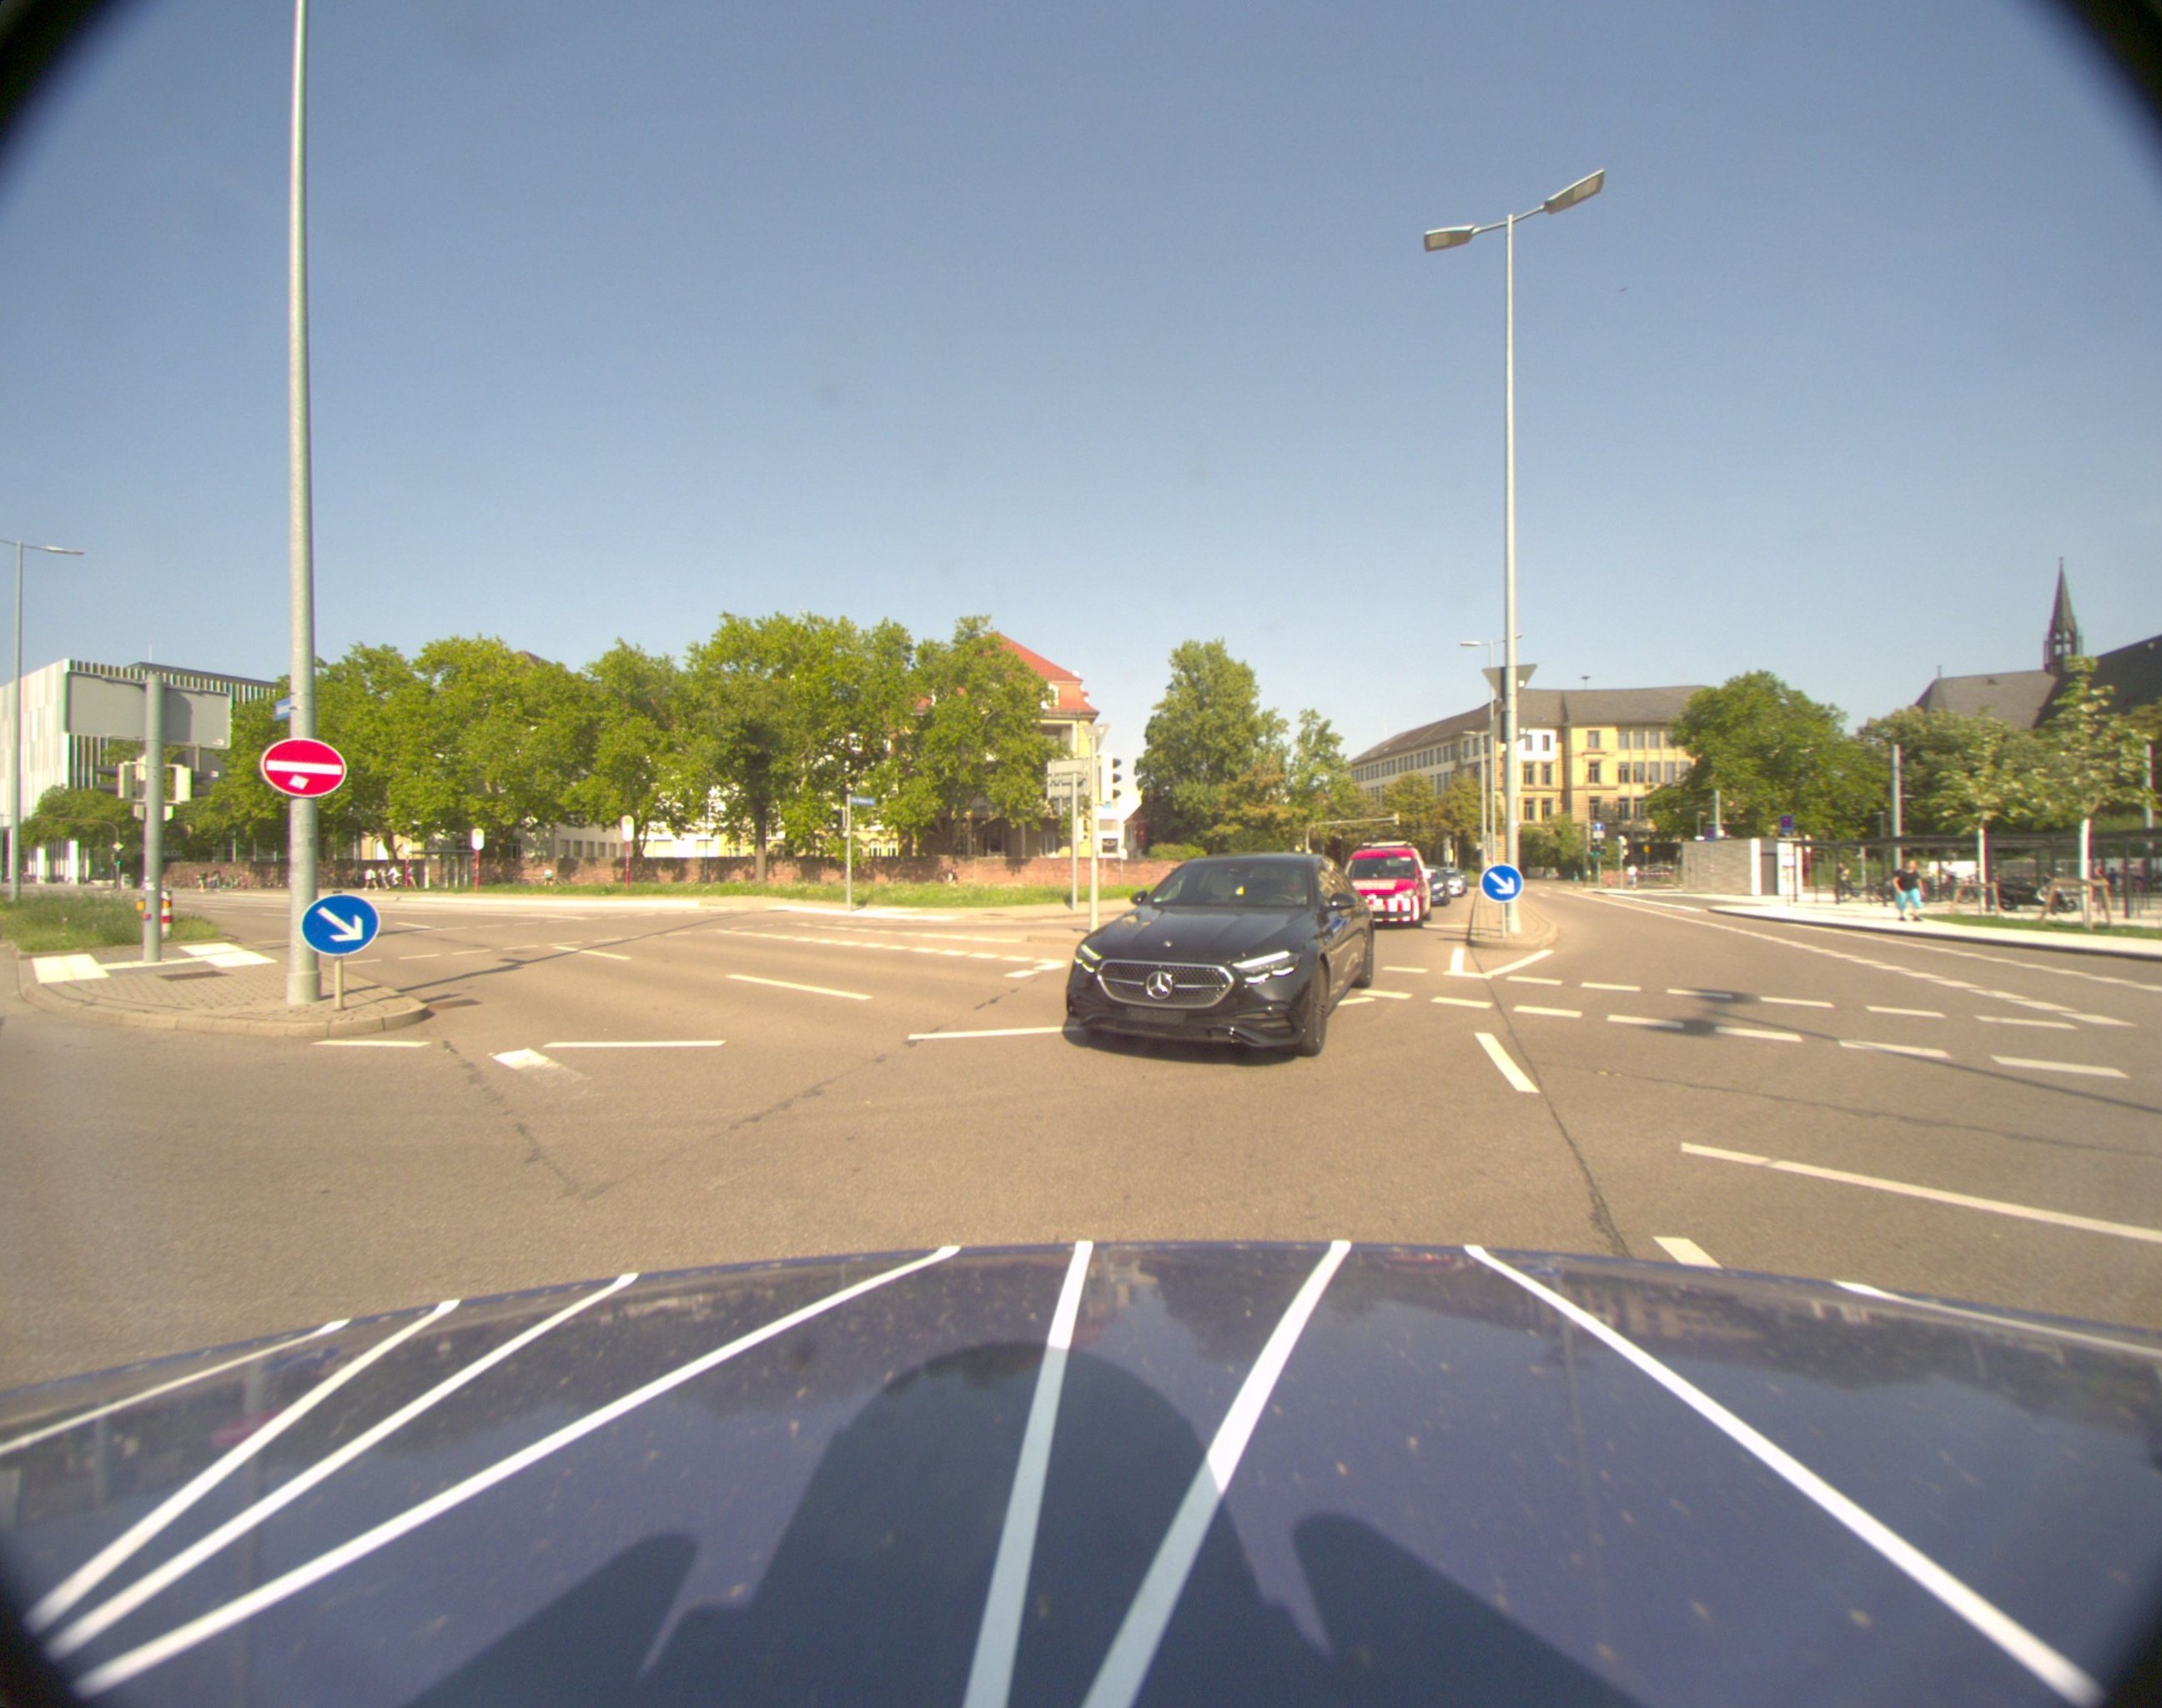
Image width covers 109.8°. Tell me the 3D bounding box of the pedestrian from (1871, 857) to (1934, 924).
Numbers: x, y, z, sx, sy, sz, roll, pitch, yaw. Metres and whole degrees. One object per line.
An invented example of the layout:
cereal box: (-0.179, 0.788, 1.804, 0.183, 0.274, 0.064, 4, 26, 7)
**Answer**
pedestrian: (19.656, 0.856, 18.195, 0.752, 1.556, 0.667, 1, 0, 11)

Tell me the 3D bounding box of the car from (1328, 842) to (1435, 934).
car: (6.894, 0.714, 17.189, 1.733, 1.808, 4.286, 0, -1, 29)

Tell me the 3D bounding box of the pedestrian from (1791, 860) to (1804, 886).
pedestrian: (46.594, 1.219, 49.406, 0.505, 1.697, 0.517, -1, 1, -38)

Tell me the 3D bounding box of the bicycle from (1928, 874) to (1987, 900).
bicycle: (35.717, 1.324, 30.978, 0.452, 0.971, 1.587, -2, 0, -6)

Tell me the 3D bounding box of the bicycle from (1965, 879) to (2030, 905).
bicycle: (34.535, 1.419, 28.655, 0.410, 0.887, 1.587, 0, 0, -6)

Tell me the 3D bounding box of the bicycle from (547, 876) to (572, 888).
bicycle: (-36.929, 1.997, 53.844, 1.548, 0.830, 0.434, 0, 0, 6)

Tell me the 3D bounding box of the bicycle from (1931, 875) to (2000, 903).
bicycle: (33.555, 1.312, 28.843, 0.533, 0.981, 1.713, 0, 0, -6)

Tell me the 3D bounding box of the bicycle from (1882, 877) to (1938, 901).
bicycle: (33.338, 1.401, 30.578, 0.410, 0.887, 1.587, 0, 0, -6)

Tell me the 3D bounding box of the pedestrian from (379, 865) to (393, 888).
pedestrian: (-50.575, 1.601, 55.265, 0.593, 1.641, 0.484, -2, -1, 11)

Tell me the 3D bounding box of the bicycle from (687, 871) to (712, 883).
bicycle: (-26.640, 1.573, 53.035, 1.548, 0.830, 0.434, 0, 0, 3)

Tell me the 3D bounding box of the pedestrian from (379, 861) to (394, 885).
pedestrian: (-49.385, 1.361, 54.009, 0.593, 1.641, 0.520, -2, -1, 11)

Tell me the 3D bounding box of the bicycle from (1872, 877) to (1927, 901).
bicycle: (32.828, 1.384, 30.489, 0.401, 0.887, 1.587, 0, 0, -6)

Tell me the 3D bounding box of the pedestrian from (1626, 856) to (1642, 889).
pedestrian: (33.203, 1.108, 45.587, 0.731, 2.002, 0.716, 0, 0, 40)

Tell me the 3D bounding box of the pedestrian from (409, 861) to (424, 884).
pedestrian: (-47.822, 1.328, 54.683, 0.593, 1.641, 0.484, -2, -1, 11)

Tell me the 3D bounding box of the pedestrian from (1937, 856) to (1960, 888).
pedestrian: (48.161, 0.982, 42.184, 0.715, 1.738, 0.390, 0, 0, 26)

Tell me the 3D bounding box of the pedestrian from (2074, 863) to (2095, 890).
pedestrian: (49.315, 1.126, 37.328, 0.393, 1.310, 0.415, -2, -1, -1)

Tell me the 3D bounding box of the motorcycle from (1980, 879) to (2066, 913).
motorcycle: (30.367, 1.341, 24.529, 0.543, 1.003, 1.745, 0, 0, -6)

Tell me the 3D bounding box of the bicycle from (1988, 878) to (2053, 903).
bicycle: (35.906, 1.369, 29.057, 0.410, 0.887, 1.587, 0, 0, -6)

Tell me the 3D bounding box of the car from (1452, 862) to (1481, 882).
car: (31.652, 1.451, 62.372, 1.995, 1.543, 4.008, 0, 0, 28)

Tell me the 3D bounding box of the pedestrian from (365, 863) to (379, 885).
pedestrian: (-50.707, 1.449, 54.354, 0.502, 1.561, 0.535, -2, -1, 9)

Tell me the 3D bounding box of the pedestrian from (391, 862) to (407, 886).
pedestrian: (-48.115, 1.427, 53.603, 0.593, 1.641, 0.520, -2, -1, 11)

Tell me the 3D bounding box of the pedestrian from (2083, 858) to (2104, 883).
pedestrian: (50.048, 0.813, 37.555, 0.439, 1.217, 0.383, -2, -1, -5)

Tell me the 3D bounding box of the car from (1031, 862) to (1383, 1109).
car: (1.583, 0.816, 7.121, 1.821, 1.431, 4.883, 0, 0, 27)

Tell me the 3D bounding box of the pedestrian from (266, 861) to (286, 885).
pedestrian: (-64.567, 1.521, 60.927, 0.930, 1.941, 0.743, -3, -1, 20)

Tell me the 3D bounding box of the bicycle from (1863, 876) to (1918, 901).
bicycle: (32.256, 1.371, 30.305, 0.422, 0.961, 1.587, 0, 0, -6)

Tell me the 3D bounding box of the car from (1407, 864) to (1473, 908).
car: (12.664, 1.061, 26.700, 1.636, 1.418, 4.331, 0, -1, 31)

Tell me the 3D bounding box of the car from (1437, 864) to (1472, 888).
car: (21.824, 1.268, 44.326, 1.603, 1.321, 4.341, 0, -1, 29)

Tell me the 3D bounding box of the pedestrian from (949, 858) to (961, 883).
pedestrian: (-8.712, 1.128, 52.569, 0.718, 1.673, 0.594, 0, 0, -3)

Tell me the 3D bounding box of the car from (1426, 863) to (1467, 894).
car: (17.977, 1.155, 37.302, 1.717, 1.425, 3.867, 0, -1, 27)

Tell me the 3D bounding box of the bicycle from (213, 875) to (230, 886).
bicycle: (-71.632, 2.203, 63.347, 1.546, 0.830, 0.435, 0, 0, 22)

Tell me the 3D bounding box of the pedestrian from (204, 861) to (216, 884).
pedestrian: (-66.117, 1.412, 57.677, 0.504, 1.729, 0.487, -3, -1, 27)

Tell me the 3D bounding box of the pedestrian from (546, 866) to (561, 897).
pedestrian: (-36.996, 1.921, 53.271, 0.593, 2.092, 0.520, -2, -1, 11)

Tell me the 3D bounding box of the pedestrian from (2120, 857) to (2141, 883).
pedestrian: (50.463, 0.778, 36.533, 0.439, 1.217, 0.383, -2, -1, -5)

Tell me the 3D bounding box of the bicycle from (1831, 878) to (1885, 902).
bicycle: (30.957, 1.409, 30.303, 0.401, 0.887, 1.587, 0, 0, -6)

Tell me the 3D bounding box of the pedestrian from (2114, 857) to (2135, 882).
pedestrian: (50.908, 0.764, 37.060, 0.439, 1.217, 0.383, -2, -1, -5)
